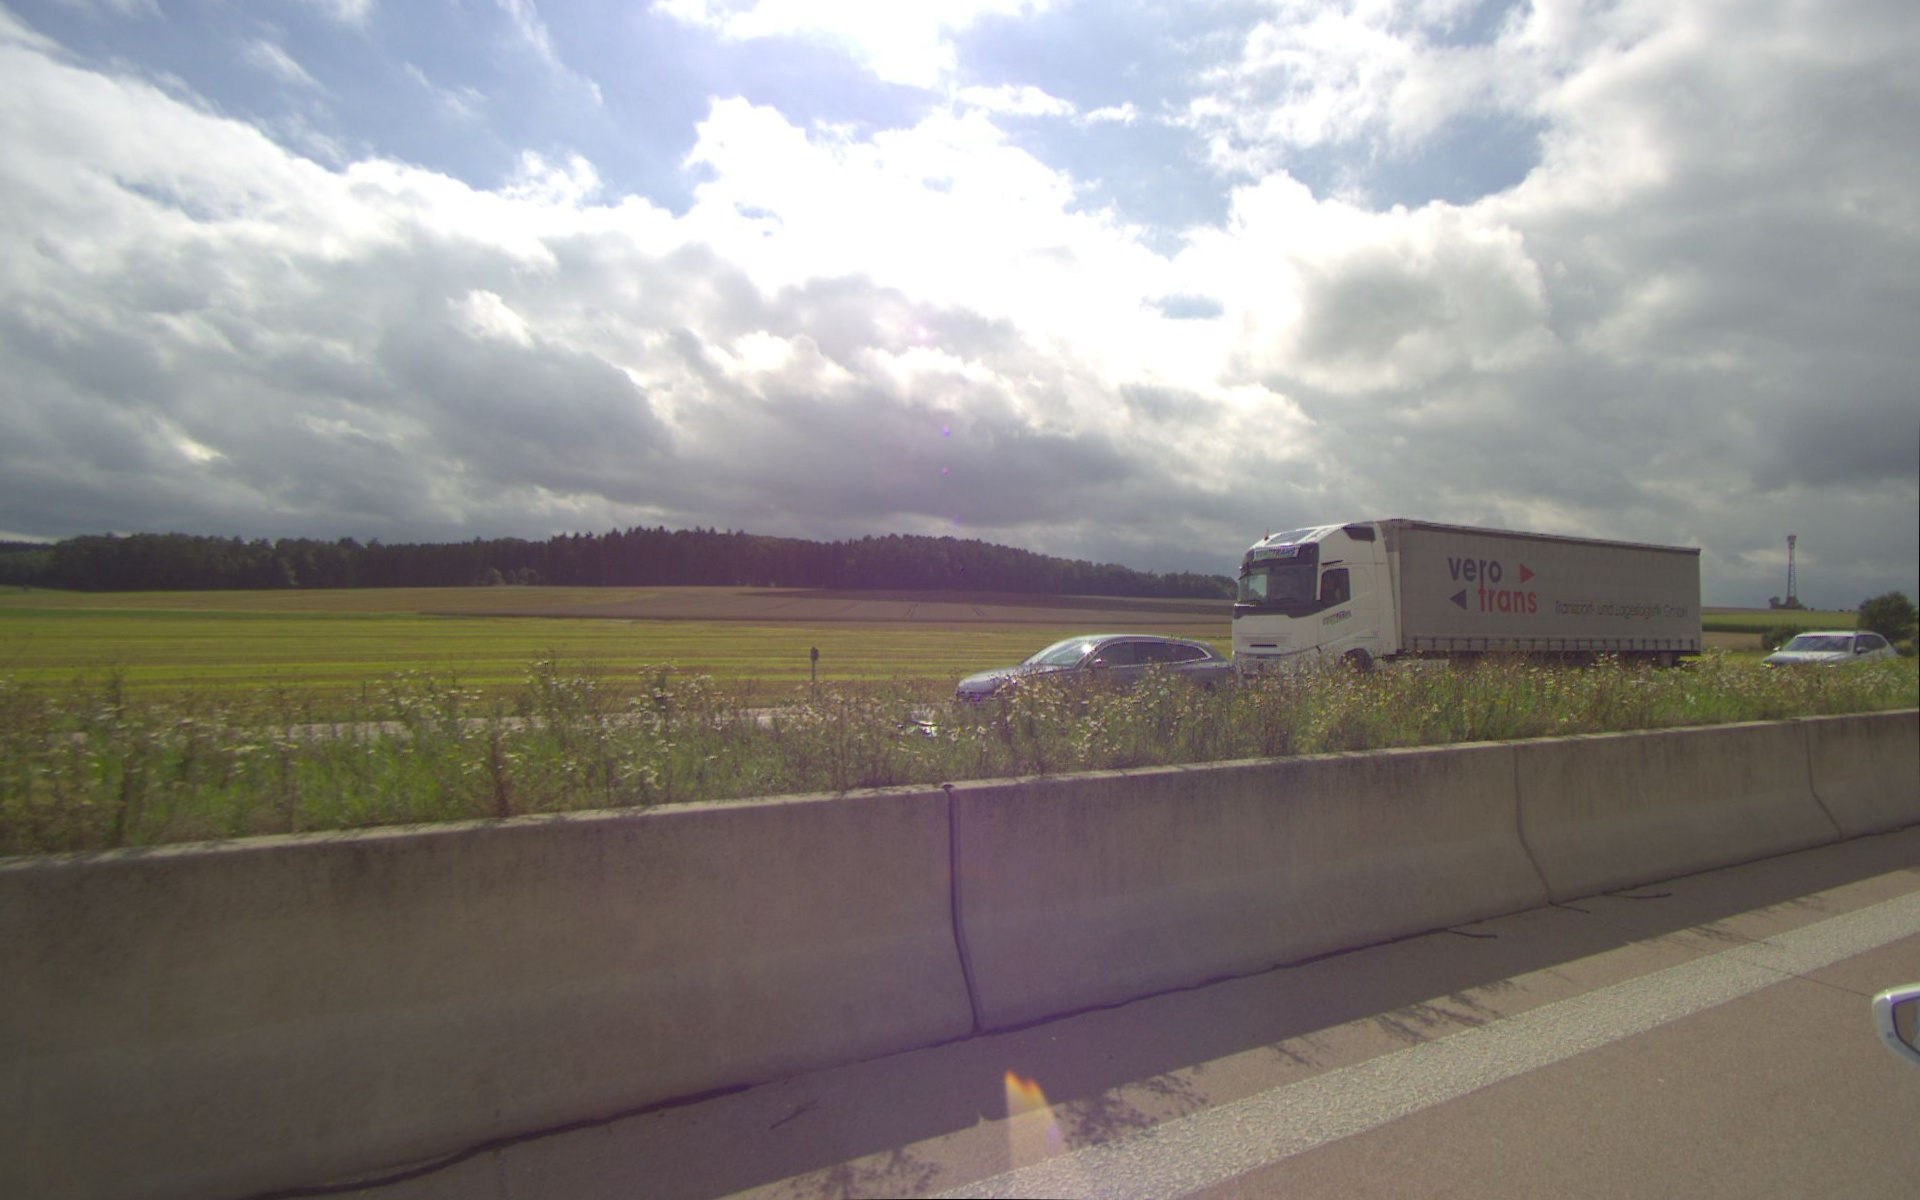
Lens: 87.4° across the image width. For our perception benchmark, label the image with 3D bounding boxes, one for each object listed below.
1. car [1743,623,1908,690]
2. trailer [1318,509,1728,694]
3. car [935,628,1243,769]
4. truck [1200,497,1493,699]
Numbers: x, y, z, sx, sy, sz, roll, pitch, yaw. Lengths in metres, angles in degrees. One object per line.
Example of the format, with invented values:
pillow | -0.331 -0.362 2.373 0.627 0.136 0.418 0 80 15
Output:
car | 23.445 1.495 27.168 4.730 1.679 1.984 2 -2 -31
trailer | 15.575 0.100 27.141 13.095 4.153 3.194 1 1 -29
car | 1.993 1.349 15.097 4.419 1.771 1.764 1 1 -31
truck | 9.048 -0.020 23.503 6.051 4.153 3.192 1 1 -29
